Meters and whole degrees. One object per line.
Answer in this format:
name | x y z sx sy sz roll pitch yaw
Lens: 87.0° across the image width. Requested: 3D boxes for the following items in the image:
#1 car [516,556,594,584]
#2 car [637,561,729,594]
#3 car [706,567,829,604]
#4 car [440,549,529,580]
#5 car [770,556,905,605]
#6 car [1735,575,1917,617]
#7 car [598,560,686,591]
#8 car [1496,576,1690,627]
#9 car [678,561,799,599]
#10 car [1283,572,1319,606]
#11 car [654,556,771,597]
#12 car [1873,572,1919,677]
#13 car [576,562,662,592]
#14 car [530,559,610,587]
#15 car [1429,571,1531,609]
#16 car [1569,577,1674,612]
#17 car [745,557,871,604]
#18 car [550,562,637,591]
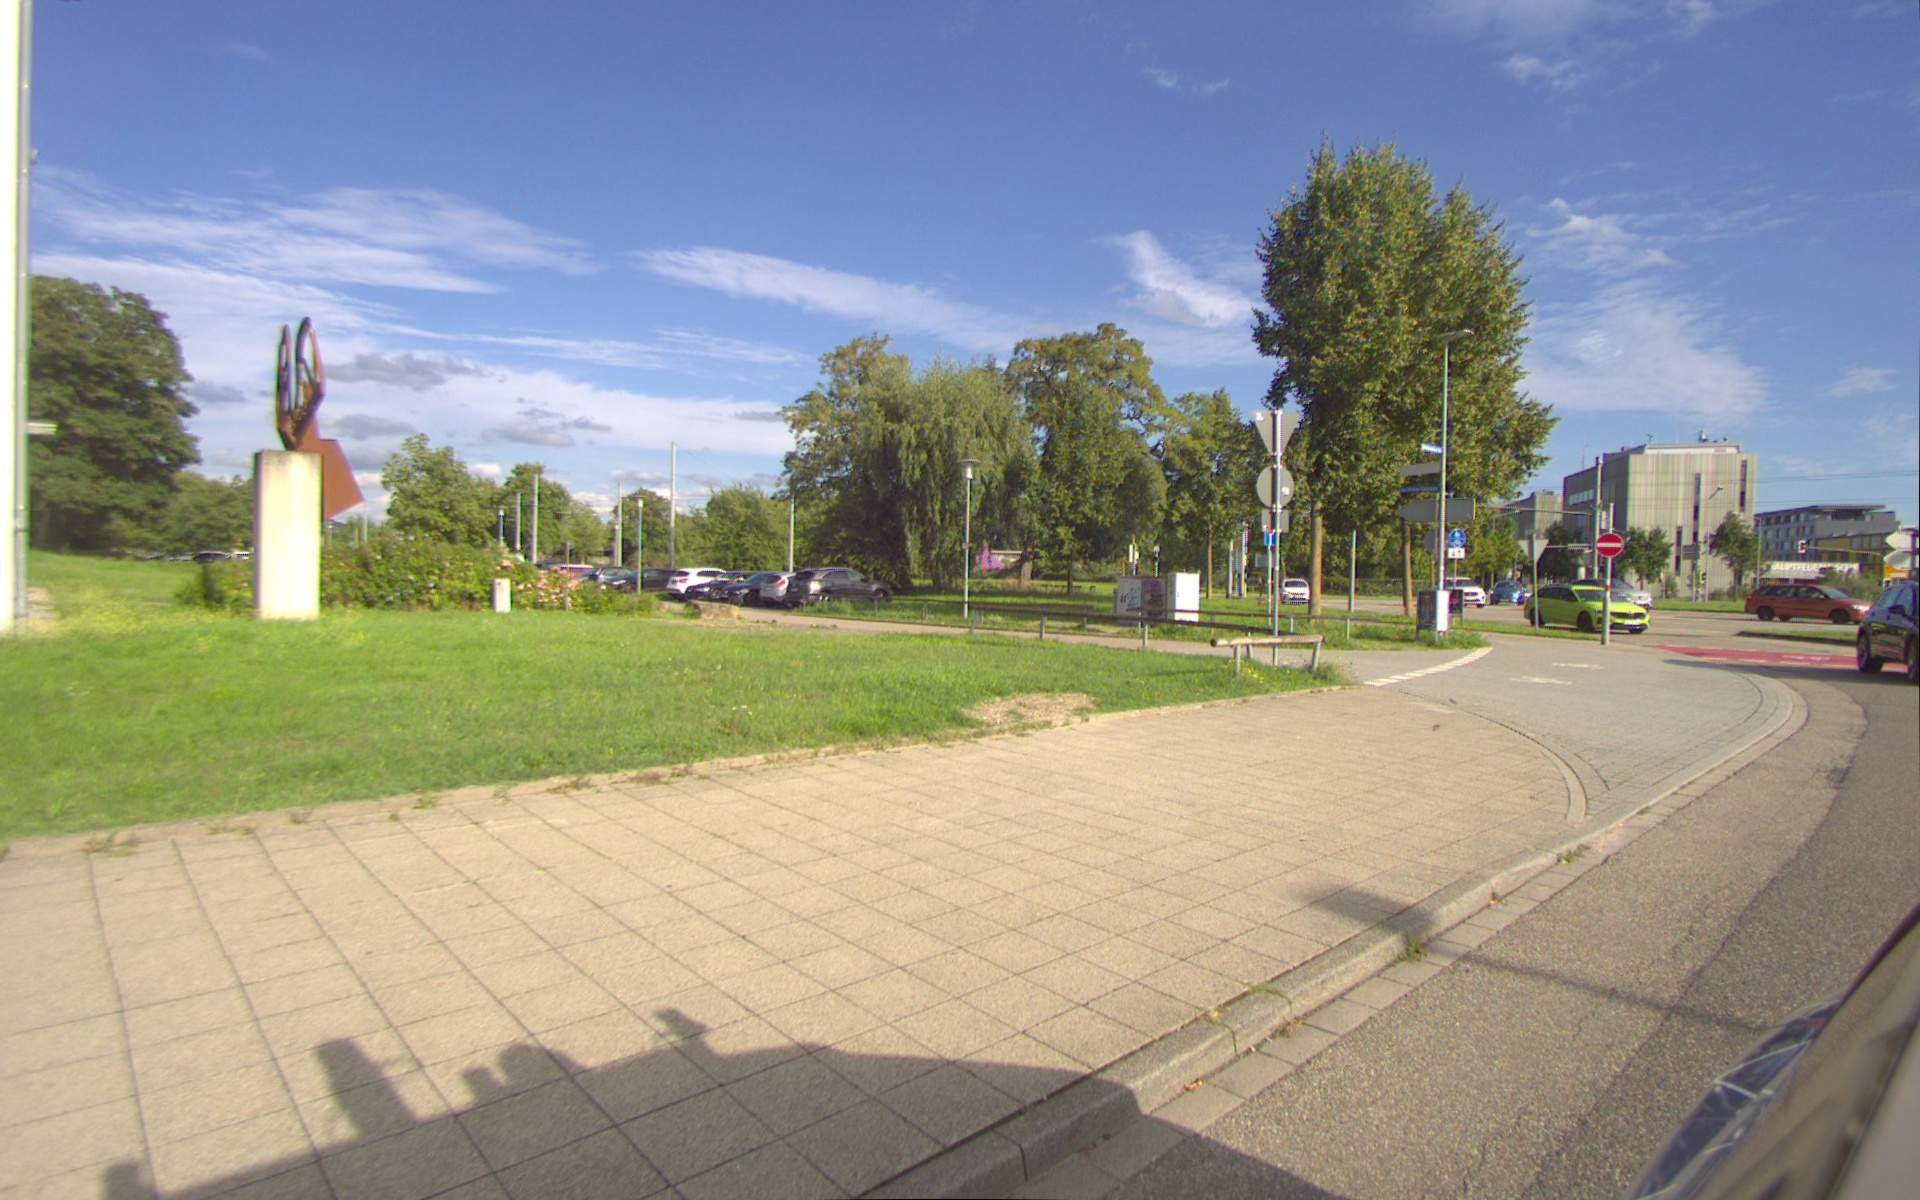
car | -24.324 -1.789 60.879 1.994 1.591 3.938 2 2 43
car | -13.700 -1.132 50.184 1.994 1.543 3.936 1 2 45
car | -8.252 -0.655 43.688 4.824 1.518 2.085 -1 2 -39
car | -33.317 -2.460 71.047 1.994 2.075 5.346 2 2 43
car | -4.753 -0.777 39.677 4.825 1.822 2.270 -1 2 -41
car | 33.551 -0.213 39.389 2.259 1.543 4.877 -1 2 -26
car | -16.449 -1.283 52.470 1.994 1.543 3.936 1 2 45
car | 20.408 -0.020 33.075 2.001 1.487 5.998 0 1 -7
car | -9.905 -0.930 45.387 4.824 1.616 2.271 -1 2 -39
car | 19.530 -0.673 57.800 1.816 1.890 5.370 0 1 20
car | -11.599 -1.098 47.619 4.824 1.822 2.358 -1 2 -39
car | 16.556 0.385 16.398 1.808 1.678 4.197 1 2 31
car | -18.297 -1.247 54.408 1.994 1.543 3.936 1 2 45
car | -22.276 -1.526 57.837 1.711 1.543 3.936 1 2 45
car | 27.290 -0.589 53.437 2.432 1.890 6.249 0 1 3
car | 30.765 -0.290 47.228 1.962 1.504 4.265 1 2 -1
car | -6.268 -0.827 41.987 4.706 1.822 2.271 -1 2 -39
car | -20.399 -1.317 56.440 1.994 1.543 4.165 1 2 45
